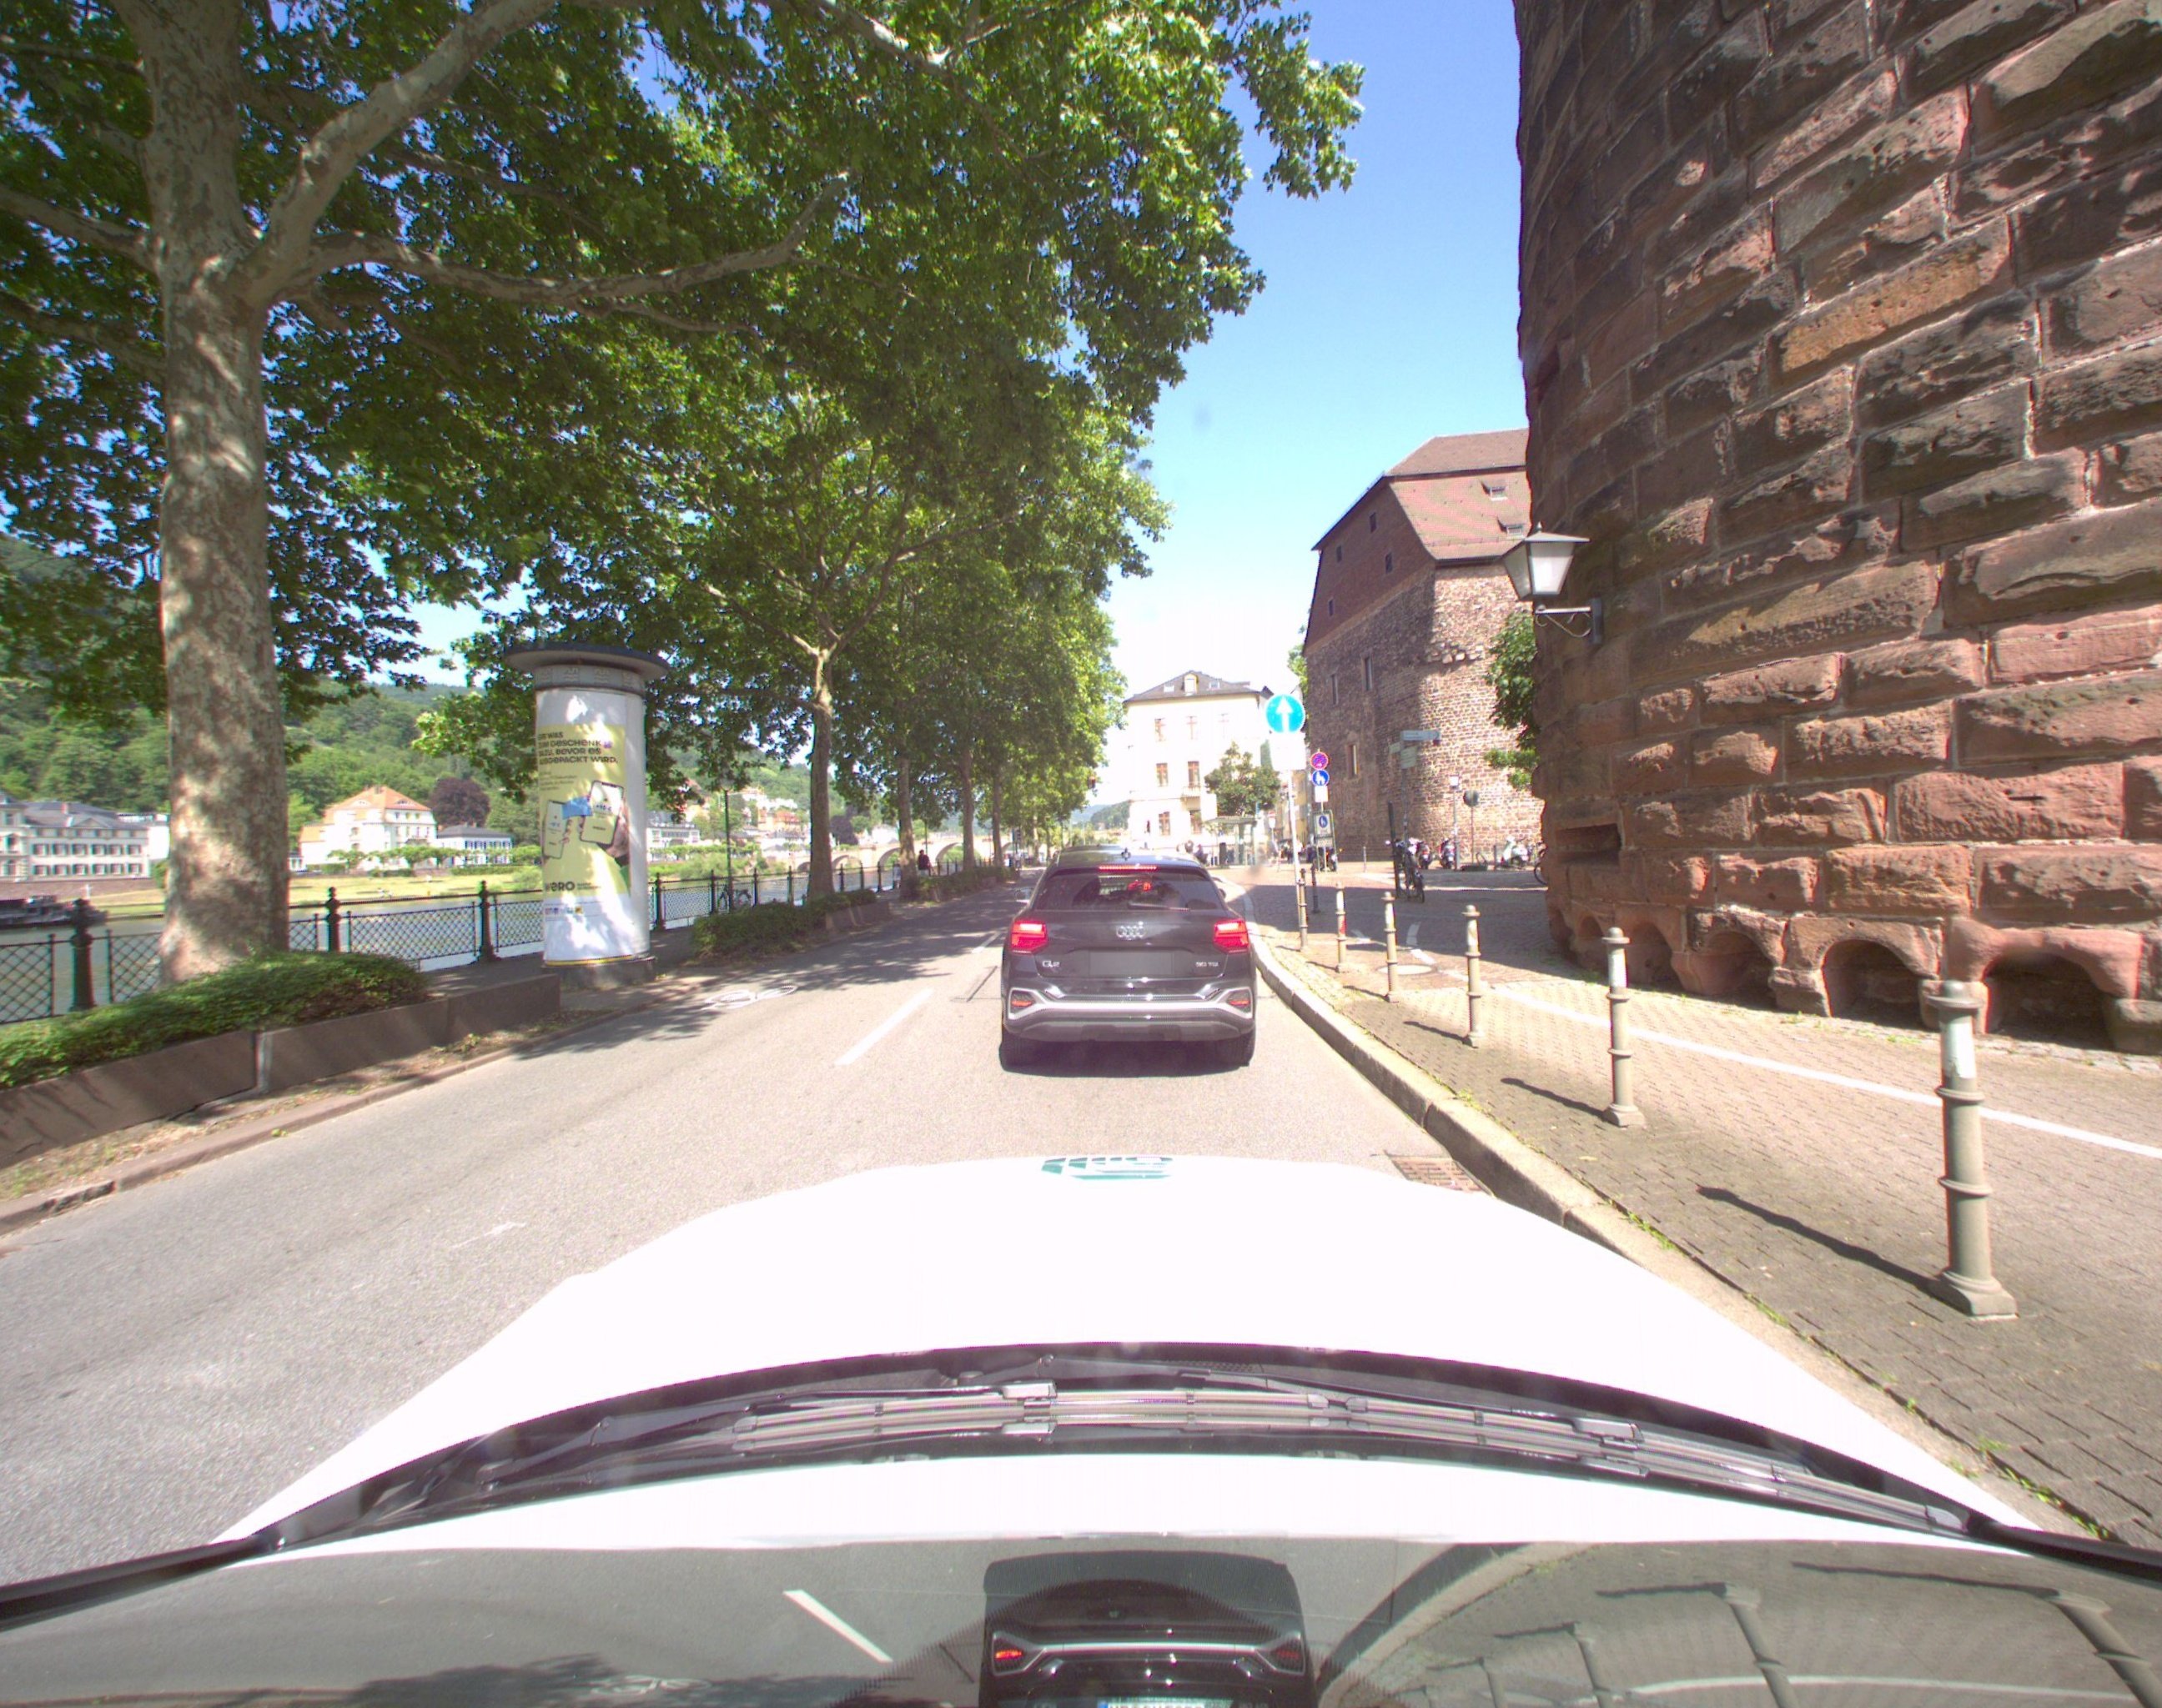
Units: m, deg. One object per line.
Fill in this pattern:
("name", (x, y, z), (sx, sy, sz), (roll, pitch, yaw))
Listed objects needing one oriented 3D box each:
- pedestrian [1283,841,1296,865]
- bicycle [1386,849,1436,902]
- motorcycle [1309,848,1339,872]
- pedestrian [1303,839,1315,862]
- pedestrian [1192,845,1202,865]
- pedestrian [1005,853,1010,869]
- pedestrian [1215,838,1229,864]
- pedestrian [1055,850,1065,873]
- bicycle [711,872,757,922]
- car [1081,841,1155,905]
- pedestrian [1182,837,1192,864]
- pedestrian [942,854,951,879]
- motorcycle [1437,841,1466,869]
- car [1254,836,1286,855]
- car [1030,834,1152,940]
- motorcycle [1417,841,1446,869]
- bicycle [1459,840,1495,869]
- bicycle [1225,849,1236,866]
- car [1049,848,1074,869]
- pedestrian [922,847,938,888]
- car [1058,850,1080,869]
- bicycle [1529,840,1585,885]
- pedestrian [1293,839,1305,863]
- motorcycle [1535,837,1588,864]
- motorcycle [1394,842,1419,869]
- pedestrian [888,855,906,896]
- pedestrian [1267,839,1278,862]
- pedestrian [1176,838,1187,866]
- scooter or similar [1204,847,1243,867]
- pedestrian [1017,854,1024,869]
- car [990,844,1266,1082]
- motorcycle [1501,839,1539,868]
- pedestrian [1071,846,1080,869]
("pedestrian", (12.706, -0.050, 49.715), (0.655, 1.493, 0.548), (0, 0, 3))
("bicycle", (6.847, 0.417, 16.973), (0.493, 1.030, 2.056), (-2, 0, 10))
("motorcycle", (9.038, 0.201, 30.332), (0.482, 0.818, 2.281), (-3, 0, 2))
("pedestrian", (15.023, -0.230, 53.589), (0.655, 1.517, 0.627), (0, 0, 3))
("pedestrian", (6.872, 0.063, 48.392), (0.544, 1.201, 0.523), (0, 0, 3))
("pedestrian", (-6.557, 0.644, 72.636), (0.407, 1.425, 0.457), (0, 0, 0))
("pedestrian", (8.508, -0.204, 49.215), (0.744, 1.557, 0.589), (-1, 0, 2))
("pedestrian", (-1.454, 0.501, 56.375), (0.542, 1.600, 0.662), (0, 0, 13))
("bicycle", (-8.932, 1.084, 21.038), (0.356, 1.162, 1.825), (-3, 0, -1))
("car", (1.002, 0.474, 22.473), (1.794, 1.523, 3.718), (-3, 0, 2))
("pedestrian", (6.393, -0.191, 49.180), (0.555, 1.633, 0.660), (-1, 0, 3))
("pedestrian", (-8.344, 0.786, 50.535), (0.496, 1.537, 0.678), (0, 0, -5))
("motorcycle", (13.607, 0.034, 29.914), (0.456, 0.973, 1.467), (0, 0, 2))
("car", (17.542, -0.770, 75.837), (1.987, 1.716, 3.999), (-2, 0, 0))
("car", (0.214, 0.490, 13.899), (1.794, 1.562, 3.718), (0, 0, 2))
("motorcycle", (12.768, 0.037, 29.716), (0.456, 0.973, 1.467), (0, 0, 2))
("bicycle", (14.275, 0.024, 29.382), (0.402, 0.989, 1.825), (0, 0, -1))
("bicycle", (8.683, 0.214, 47.386), (0.449, 0.974, 1.400), (0, 0, 2))
("car", (-1.481, 0.309, 62.926), (1.608, 1.523, 3.480), (-3, 0, 3))
("pedestrian", (-6.537, 0.574, 35.208), (0.562, 1.742, 0.665), (-1, -2, -1))
("car", (-1.049, 0.454, 71.886), (1.608, 1.523, 3.480), (-3, 0, 3))
("bicycle", (11.573, 0.203, 19.859), (0.493, 1.030, 2.056), (0, 0, 10))
("pedestrian", (14.327, -0.193, 53.558), (0.655, 1.517, 0.548), (0, 0, 3))
("motorcycle", (18.450, -0.132, 31.273), (1.683, 1.019, 0.502), (0, 0, 14))
("motorcycle", (11.973, 0.040, 29.956), (0.434, 0.973, 1.359), (0, 0, 2))
("pedestrian", (-7.759, 0.905, 34.354), (0.643, 1.717, 0.665), (0, 0, -1))
("pedestrian", (13.288, -0.241, 56.528), (0.544, 1.634, 0.660), (0, 0, -1))
("pedestrian", (5.738, -0.111, 46.504), (0.555, 1.557, 0.660), (-1, 0, 3))
("scooter or similar", (6.981, 0.155, 39.930), (1.838, 0.963, 0.429), (0, 0, 1))
("pedestrian", (-5.172, 0.654, 69.841), (0.588, 1.278, 0.525), (0, 0, 2))
("car", (0.325, 0.684, 6.988), (1.742, 1.494, 3.629), (-1, 0, 1))
("motorcycle", (15.629, -0.022, 29.039), (0.496, 1.019, 1.702), (0, 0, 2))
("pedestrian", (-0.363, 0.268, 56.083), (0.555, 1.557, 0.660), (-1, 0, 3))
